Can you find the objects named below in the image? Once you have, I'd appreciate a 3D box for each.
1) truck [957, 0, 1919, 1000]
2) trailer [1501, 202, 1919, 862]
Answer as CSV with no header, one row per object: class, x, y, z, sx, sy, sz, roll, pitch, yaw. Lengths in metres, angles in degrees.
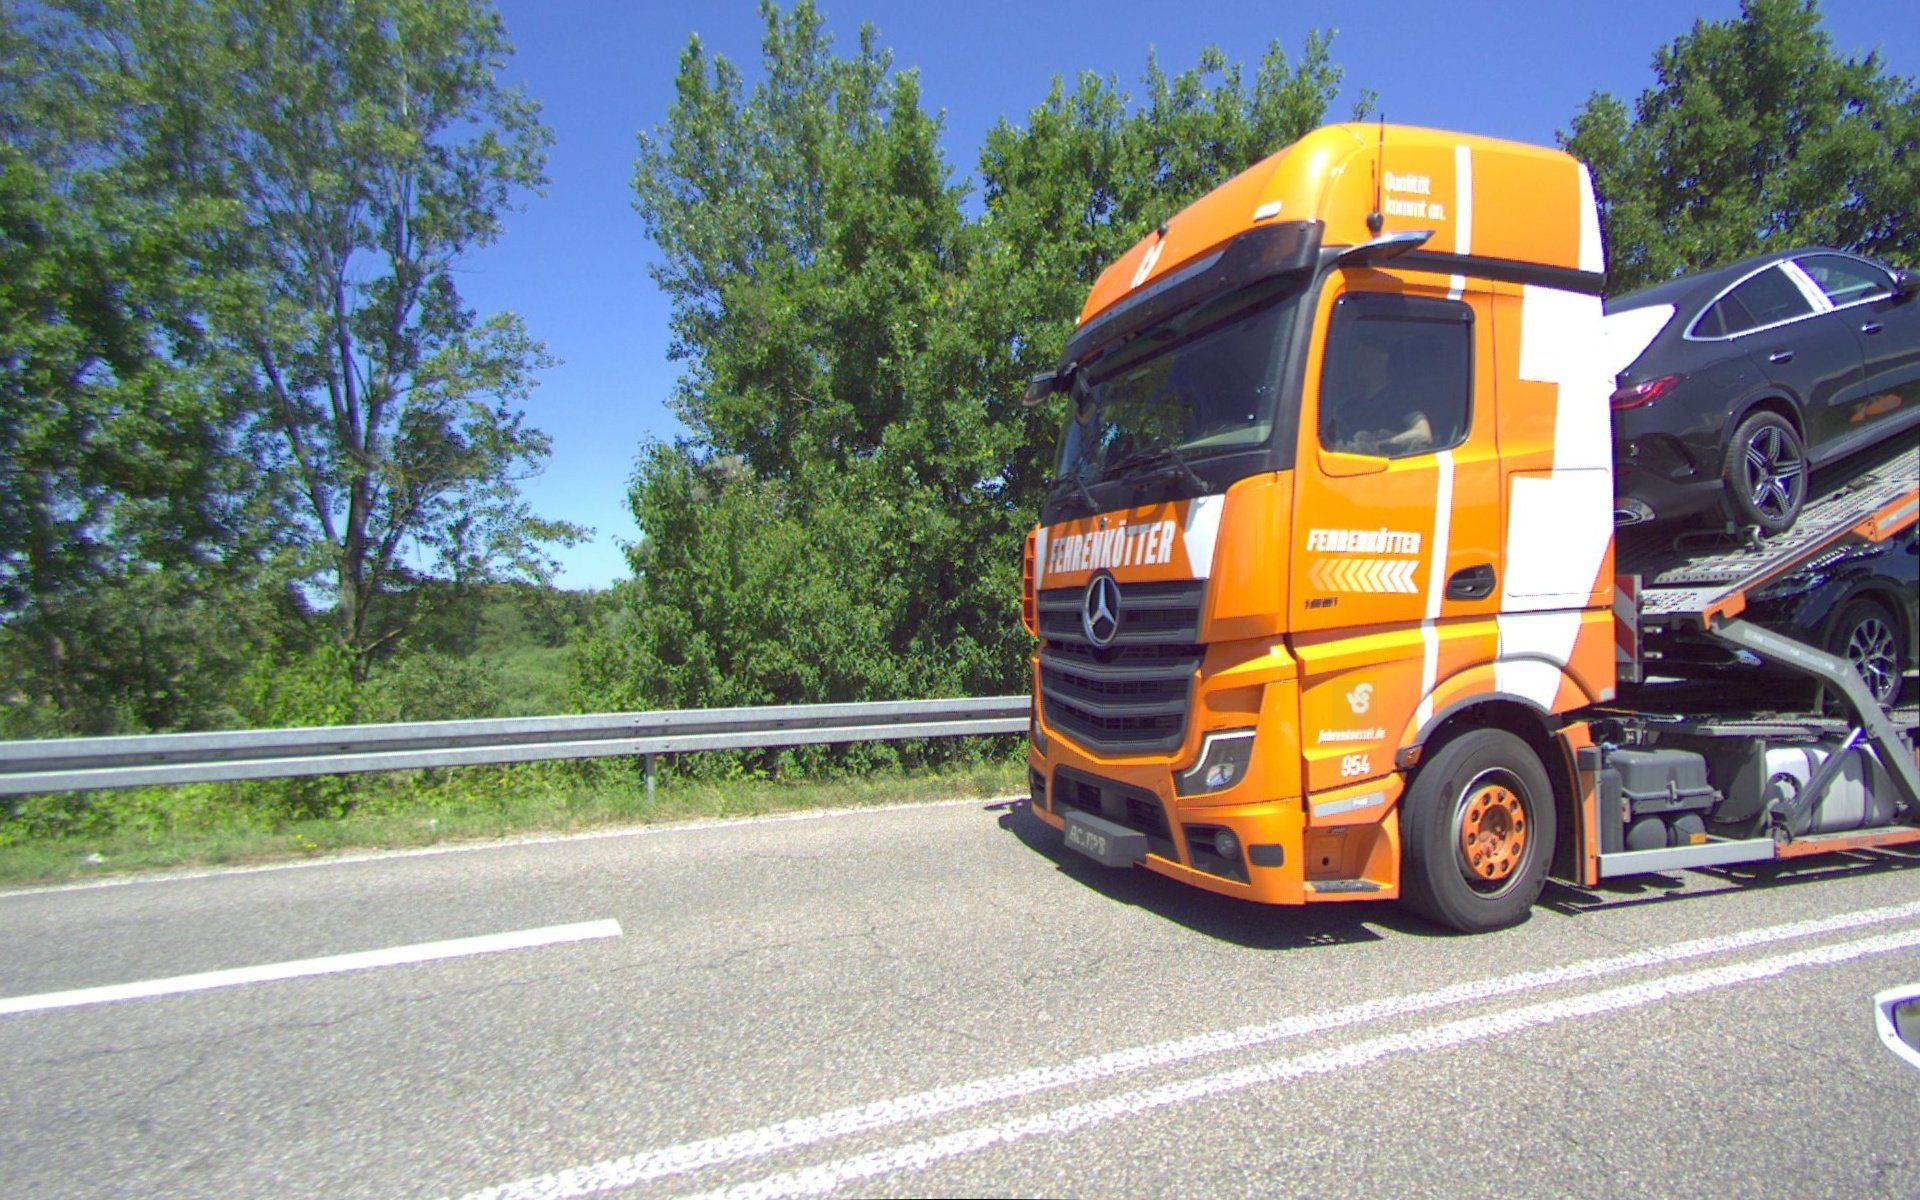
truck,4.508,-0.400,6.653,8.646,3.950,2.786,1,0,-20
trailer,11.702,-0.327,9.097,13.750,3.950,2.794,1,0,-15
